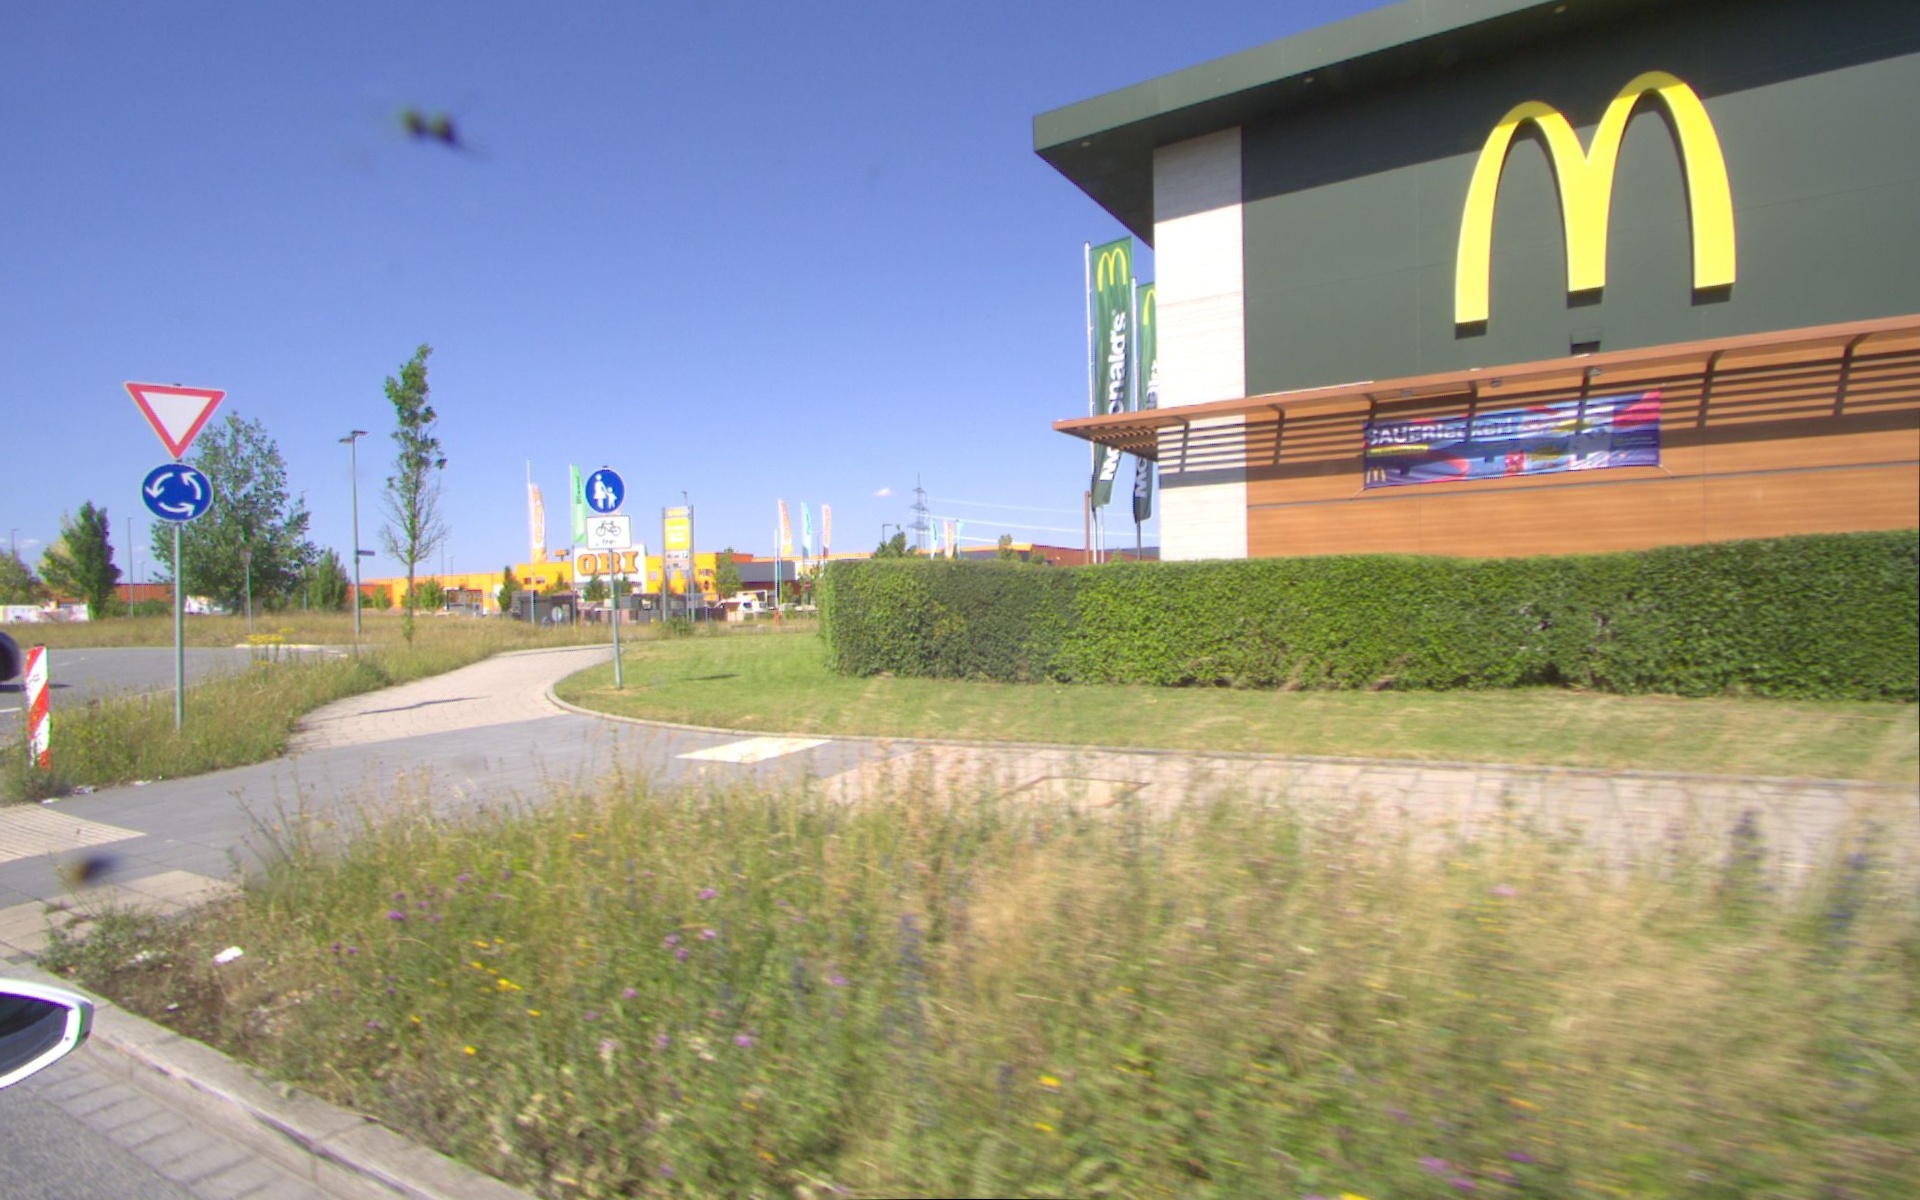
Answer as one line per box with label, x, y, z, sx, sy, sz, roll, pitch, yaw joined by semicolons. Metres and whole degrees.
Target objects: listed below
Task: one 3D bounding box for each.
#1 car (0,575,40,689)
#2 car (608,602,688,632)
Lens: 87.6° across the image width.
car;-15.137;0.471;12.878;1.926;1.648;4.621;0;0;10
car;-16.815;0.896;54.158;1.828;1.479;3.981;-1;0;29
